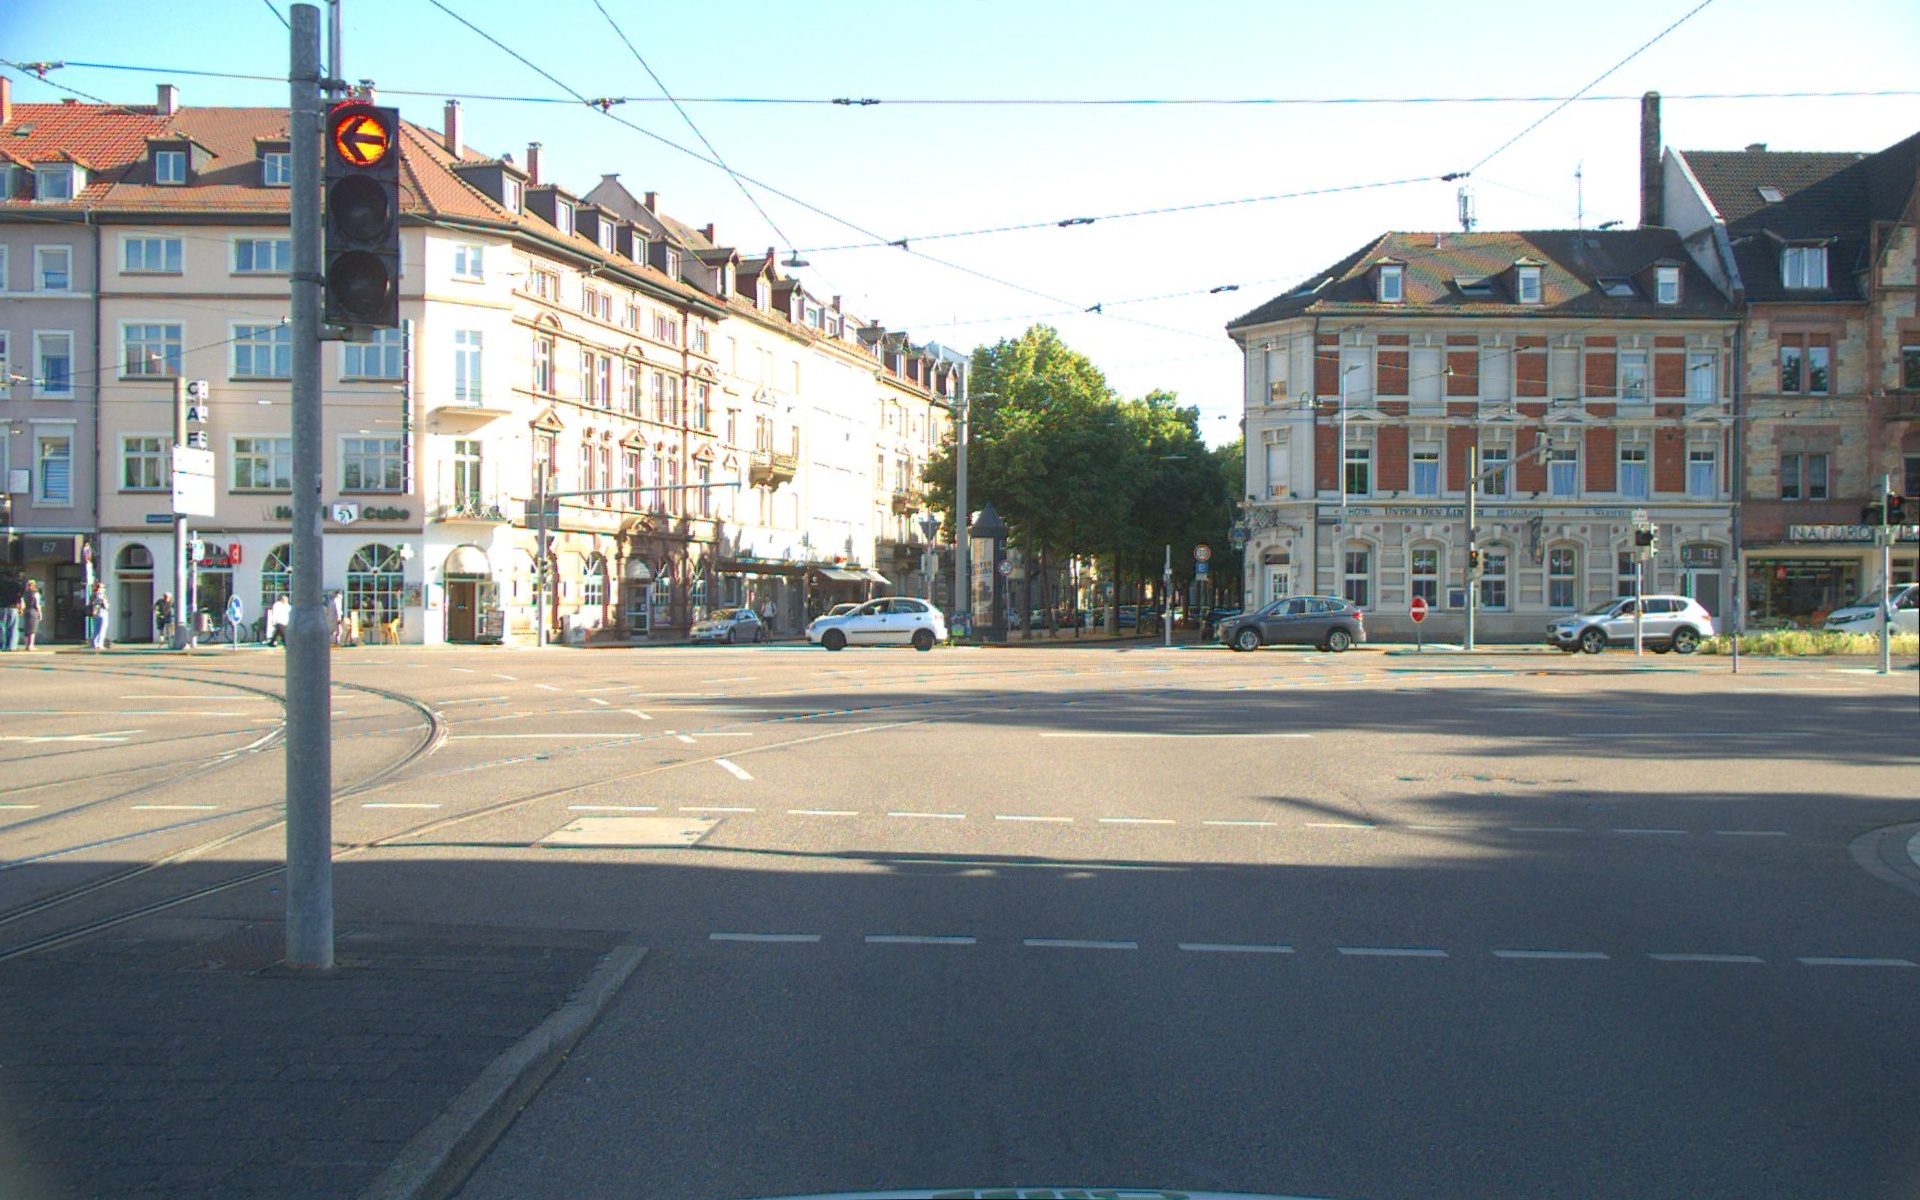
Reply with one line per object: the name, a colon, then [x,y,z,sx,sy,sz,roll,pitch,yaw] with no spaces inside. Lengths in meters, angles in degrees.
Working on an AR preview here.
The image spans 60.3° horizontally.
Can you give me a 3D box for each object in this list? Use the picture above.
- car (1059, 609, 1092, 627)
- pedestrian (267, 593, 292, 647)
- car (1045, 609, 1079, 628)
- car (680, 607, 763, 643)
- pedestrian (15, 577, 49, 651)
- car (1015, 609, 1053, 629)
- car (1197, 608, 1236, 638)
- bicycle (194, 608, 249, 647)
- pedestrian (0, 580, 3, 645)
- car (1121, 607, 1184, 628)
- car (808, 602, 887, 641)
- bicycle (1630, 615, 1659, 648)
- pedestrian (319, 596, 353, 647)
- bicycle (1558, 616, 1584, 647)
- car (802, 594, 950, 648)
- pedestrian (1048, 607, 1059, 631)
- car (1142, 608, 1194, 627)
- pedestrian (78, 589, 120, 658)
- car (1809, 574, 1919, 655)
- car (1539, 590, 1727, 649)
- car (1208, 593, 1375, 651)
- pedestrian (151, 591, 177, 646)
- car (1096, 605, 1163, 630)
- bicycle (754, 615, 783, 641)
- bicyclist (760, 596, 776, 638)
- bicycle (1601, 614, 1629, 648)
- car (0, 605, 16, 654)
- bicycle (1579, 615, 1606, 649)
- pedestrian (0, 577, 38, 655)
car: [9.570,1.474,136.725,1.951,1.429,4.172,0,0,15]
pedestrian: [-21.983,0.638,53.439,0.731,1.711,0.623,0,0,-26]
car: [8.141,1.428,131.507,1.951,1.429,4.172,0,0,15]
car: [-9.598,0.983,66.880,1.951,1.385,3.821,0,0,15]
pedestrian: [-23.010,0.338,41.018,0.549,1.817,0.559,0,0,-6]
car: [5.474,1.373,122.640,1.951,1.429,4.172,0,0,15]
car: [12.854,1.139,82.706,1.717,1.445,4.003,0,0,12]
bicycle: [-25.101,0.924,56.226,1.684,1.299,0.385,0,0,-18]
pedestrian: [-24.294,0.316,41.123,0.685,1.609,0.559,0,0,-6]
car: [12.316,1.136,105.562,3.902,1.311,1.696,0,0,10]
car: [-4.529,0.846,67.386,1.951,1.542,4.172,0,0,15]
bicycle: [22.112,1.016,53.481,0.476,1.038,1.785,0,0,9]
pedestrian: [-20.825,0.710,55.190,0.891,1.711,0.742,0,0,-7]
bicycle: [19.806,1.014,53.653,0.476,0.930,1.785,0,0,9]
car: [-2.258,0.568,45.223,3.946,1.448,1.885,0,0,-1]
pedestrian: [5.580,1.143,98.919,0.535,1.409,0.626,0,0,15]
car: [14.044,1.146,111.661,3.360,1.261,1.578,0,0,10]
pedestrian: [-21.420,0.578,41.164,0.725,1.711,0.628,0,0,-1]
car: [24.898,0.352,42.762,4.879,2.049,2.000,0,0,-1]
car: [19.779,0.555,48.705,4.758,1.682,1.999,0,0,-3]
car: [9.683,0.623,48.563,4.488,1.644,1.999,0,0,-3]
pedestrian: [-24.951,0.584,51.833,0.731,1.711,0.623,0,0,-26]
car: [10.249,1.035,99.823,3.902,1.480,1.683,0,0,10]
bicycle: [-7.555,1.097,65.166,0.641,1.018,1.666,1,0,11]
bicyclist: [-7.546,0.652,65.066,0.479,1.629,0.667,0,0,9]
bicycle: [21.165,1.000,53.484,0.476,1.038,1.785,0,0,9]
car: [-32.131,0.901,52.153,3.651,1.517,1.818,1,0,2]
bicycle: [20.475,1.021,53.576,0.476,1.038,1.785,0,0,9]
pedestrian: [-22.901,0.387,40.036,0.751,1.861,0.722,0,0,-1]
